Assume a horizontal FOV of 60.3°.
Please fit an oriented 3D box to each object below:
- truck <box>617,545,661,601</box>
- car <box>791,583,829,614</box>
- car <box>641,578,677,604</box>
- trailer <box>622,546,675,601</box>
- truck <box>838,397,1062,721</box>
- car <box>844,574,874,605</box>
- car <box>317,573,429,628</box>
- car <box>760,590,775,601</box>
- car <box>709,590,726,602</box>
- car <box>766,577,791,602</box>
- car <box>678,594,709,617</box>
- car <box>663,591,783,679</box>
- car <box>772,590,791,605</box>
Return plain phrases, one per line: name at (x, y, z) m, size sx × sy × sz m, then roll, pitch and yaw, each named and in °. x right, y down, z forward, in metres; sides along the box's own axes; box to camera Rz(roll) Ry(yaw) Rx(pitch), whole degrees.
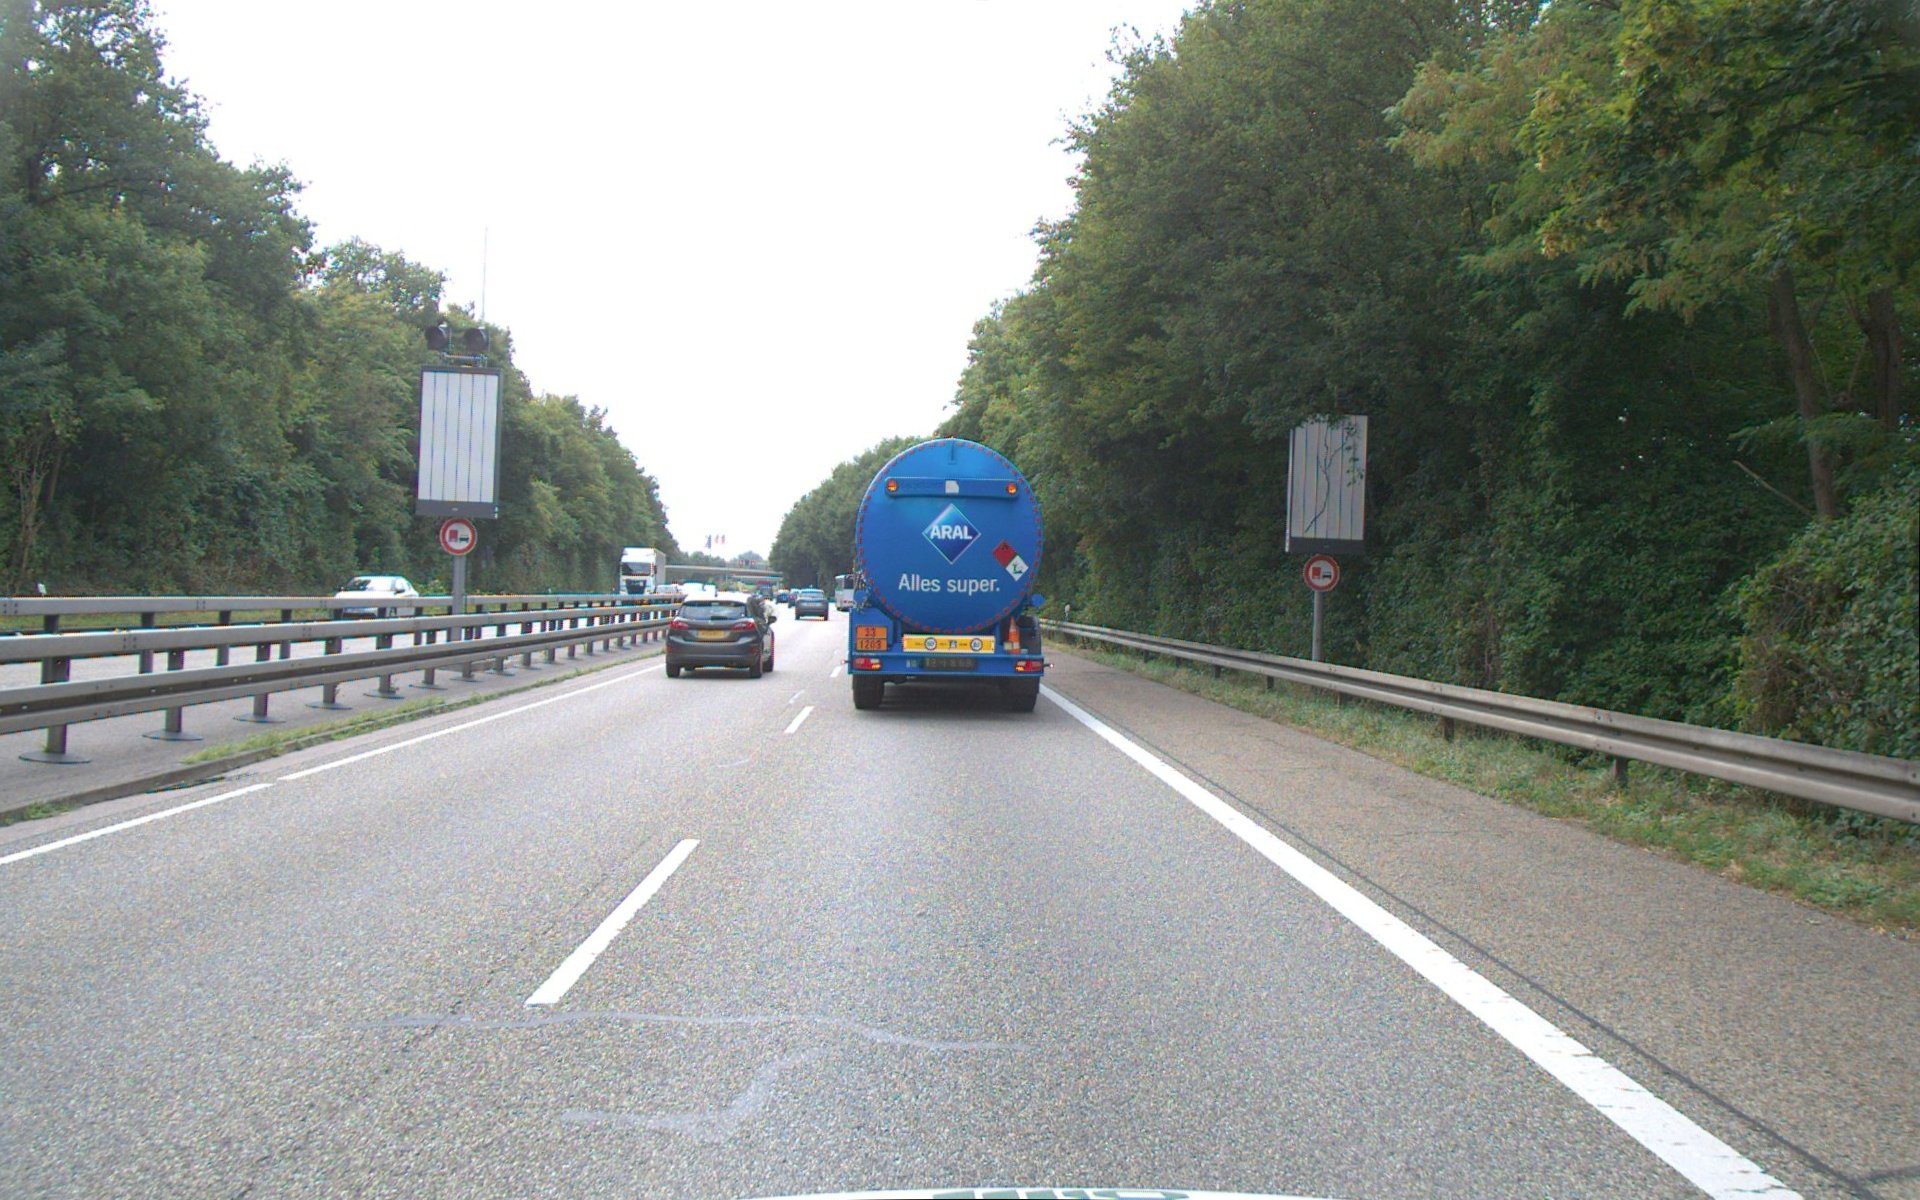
truck at (-23.928, -1.970, 123.625) m, size 2.640 × 4.134 × 5.317 m, roll 0°, pitch 0°, yaw -5°
car at (-8.010, -0.076, 88.662) m, size 1.789 × 1.637 × 4.165 m, roll 0°, pitch 0°, yaw -2°
car at (-17.170, -0.509, 94.493) m, size 1.675 × 1.472 × 3.772 m, roll 0°, pitch 0°, yaw -5°
trailer at (-24.417, -1.964, 130.171) m, size 2.611 × 4.117 × 12.860 m, roll 0°, pitch 0°, yaw -4°
truck at (-0.206, -0.517, 23.915) m, size 2.699 × 3.914 × 7.686 m, roll 0°, pitch 0°, yaw -1°
car at (-7.760, -0.772, 126.533) m, size 1.956 × 2.284 × 3.992 m, roll 0°, pitch 0°, yaw -9°
car at (-16.939, 0.017, 47.948) m, size 1.954 × 1.507 × 4.129 m, roll 0°, pitch 0°, yaw -3°
car at (-27.598, -0.641, 237.219) m, size 1.955 × 1.579 × 3.995 m, roll 0°, pitch 0°, yaw -6°
car at (-28.098, -0.473, 191.429) m, size 1.611 × 1.413 × 4.287 m, roll 0°, pitch 0°, yaw -4°
car at (-15.583, -0.873, 141.887) m, size 1.956 × 2.049 × 3.992 m, roll 0°, pitch 0°, yaw -8°
car at (-18.827, 0.386, 117.028) m, size 1.756 × 1.576 × 4.126 m, roll 0°, pitch 0°, yaw -3°
car at (-4.274, 0.594, 30.434) m, size 1.790 × 1.483 × 4.636 m, roll 0°, pitch 0°, yaw -4°
car at (-19.221, -0.277, 178.618) m, size 1.917 × 1.595 × 3.996 m, roll 0°, pitch 0°, yaw -5°
